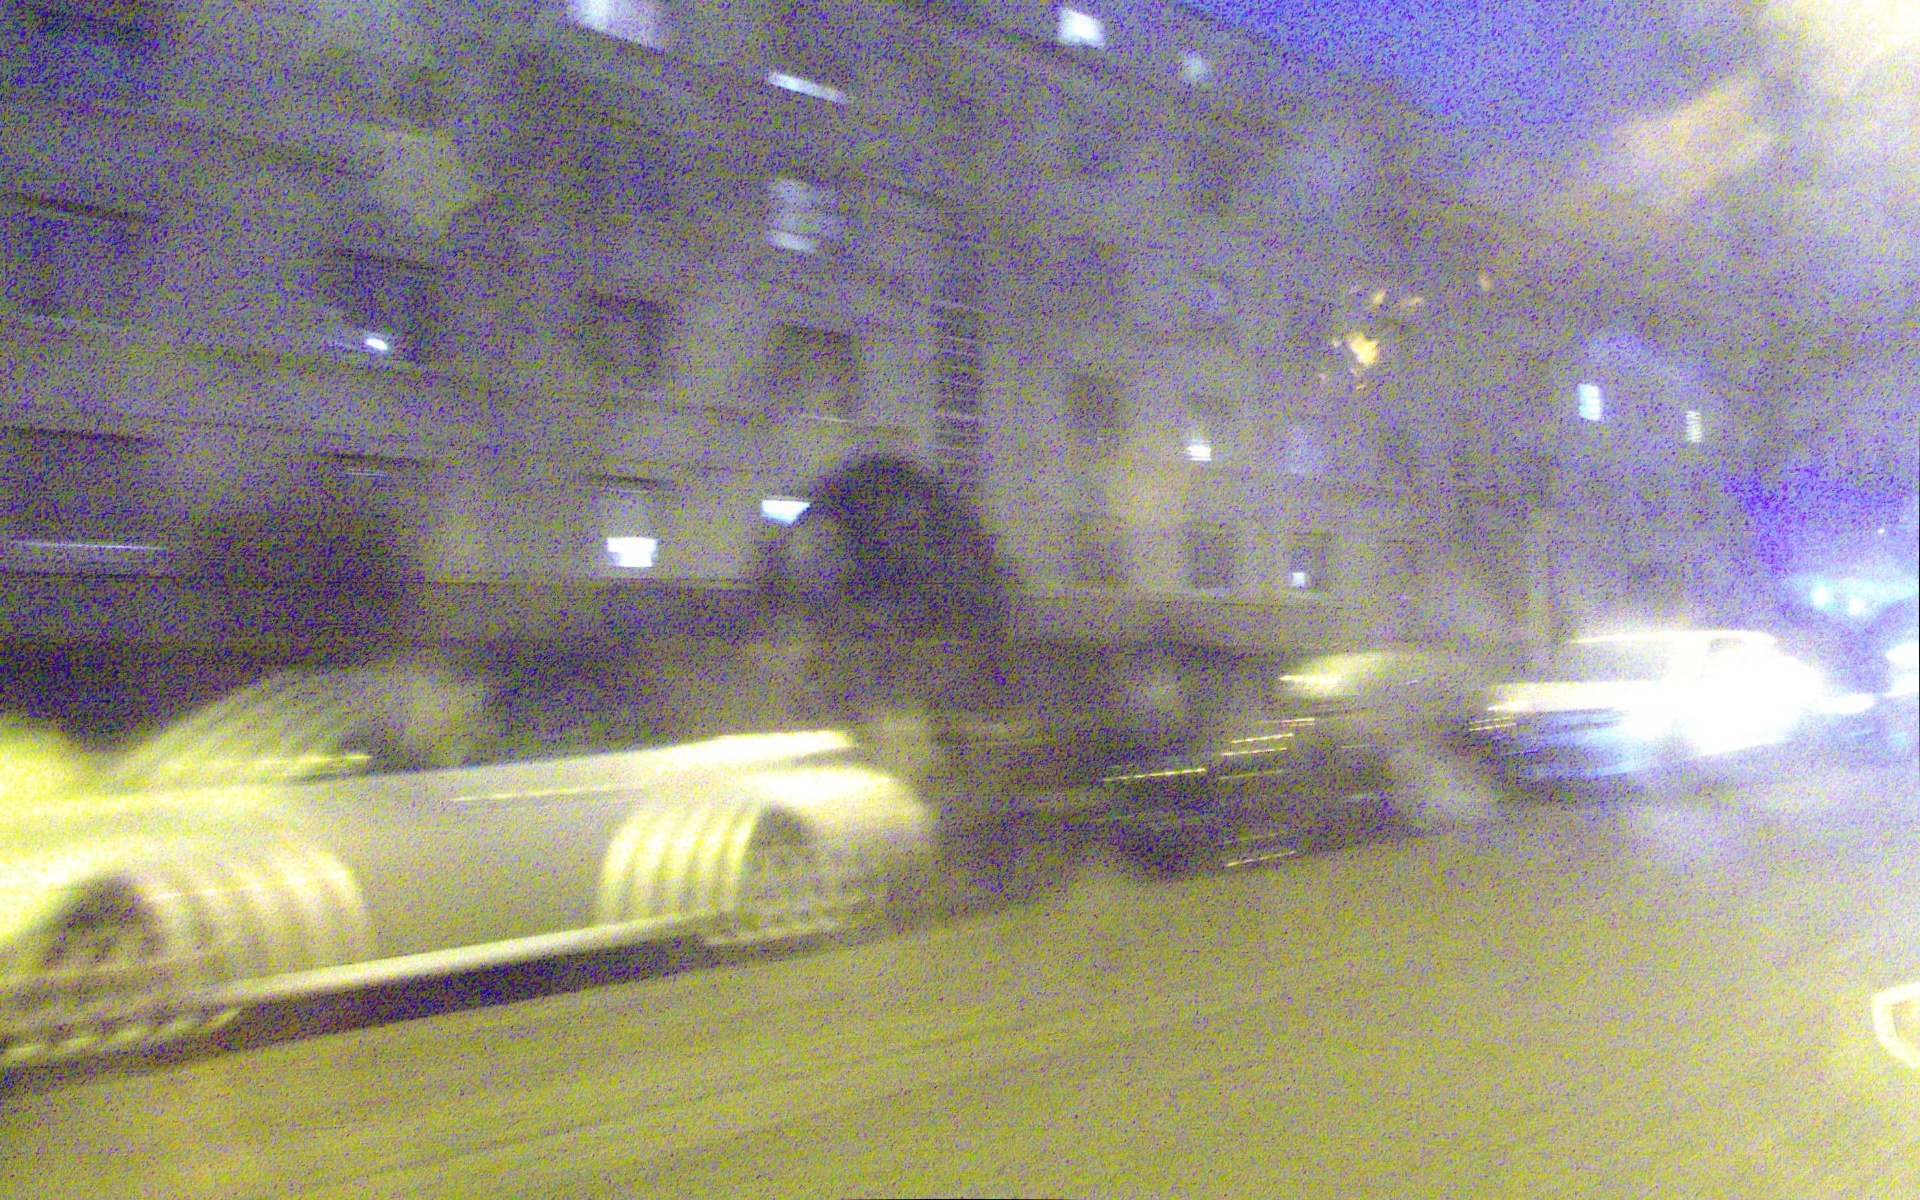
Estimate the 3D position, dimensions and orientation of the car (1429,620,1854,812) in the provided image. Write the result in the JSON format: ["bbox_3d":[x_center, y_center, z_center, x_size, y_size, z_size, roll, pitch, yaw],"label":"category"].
[{"bbox_3d":[6.846,1.036,10.001,4.337,1.559,1.659,1,-5,-29],"label":"car"}]

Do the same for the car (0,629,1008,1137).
[{"bbox_3d":[-2.058,0.953,4.642,4.337,1.560,1.659,1,-3,-29],"label":"car"}]

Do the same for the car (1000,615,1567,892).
[{"bbox_3d":[2.562,0.943,7.572,4.342,1.560,1.657,1,-4,-32],"label":"car"}]

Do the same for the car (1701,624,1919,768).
[{"bbox_3d":[11.389,1.143,12.745,4.342,1.559,1.658,1,-5,-32],"label":"car"}]

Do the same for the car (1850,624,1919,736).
[{"bbox_3d":[15.801,1.194,15.742,4.347,1.618,1.736,1,-6,-35],"label":"car"}]
